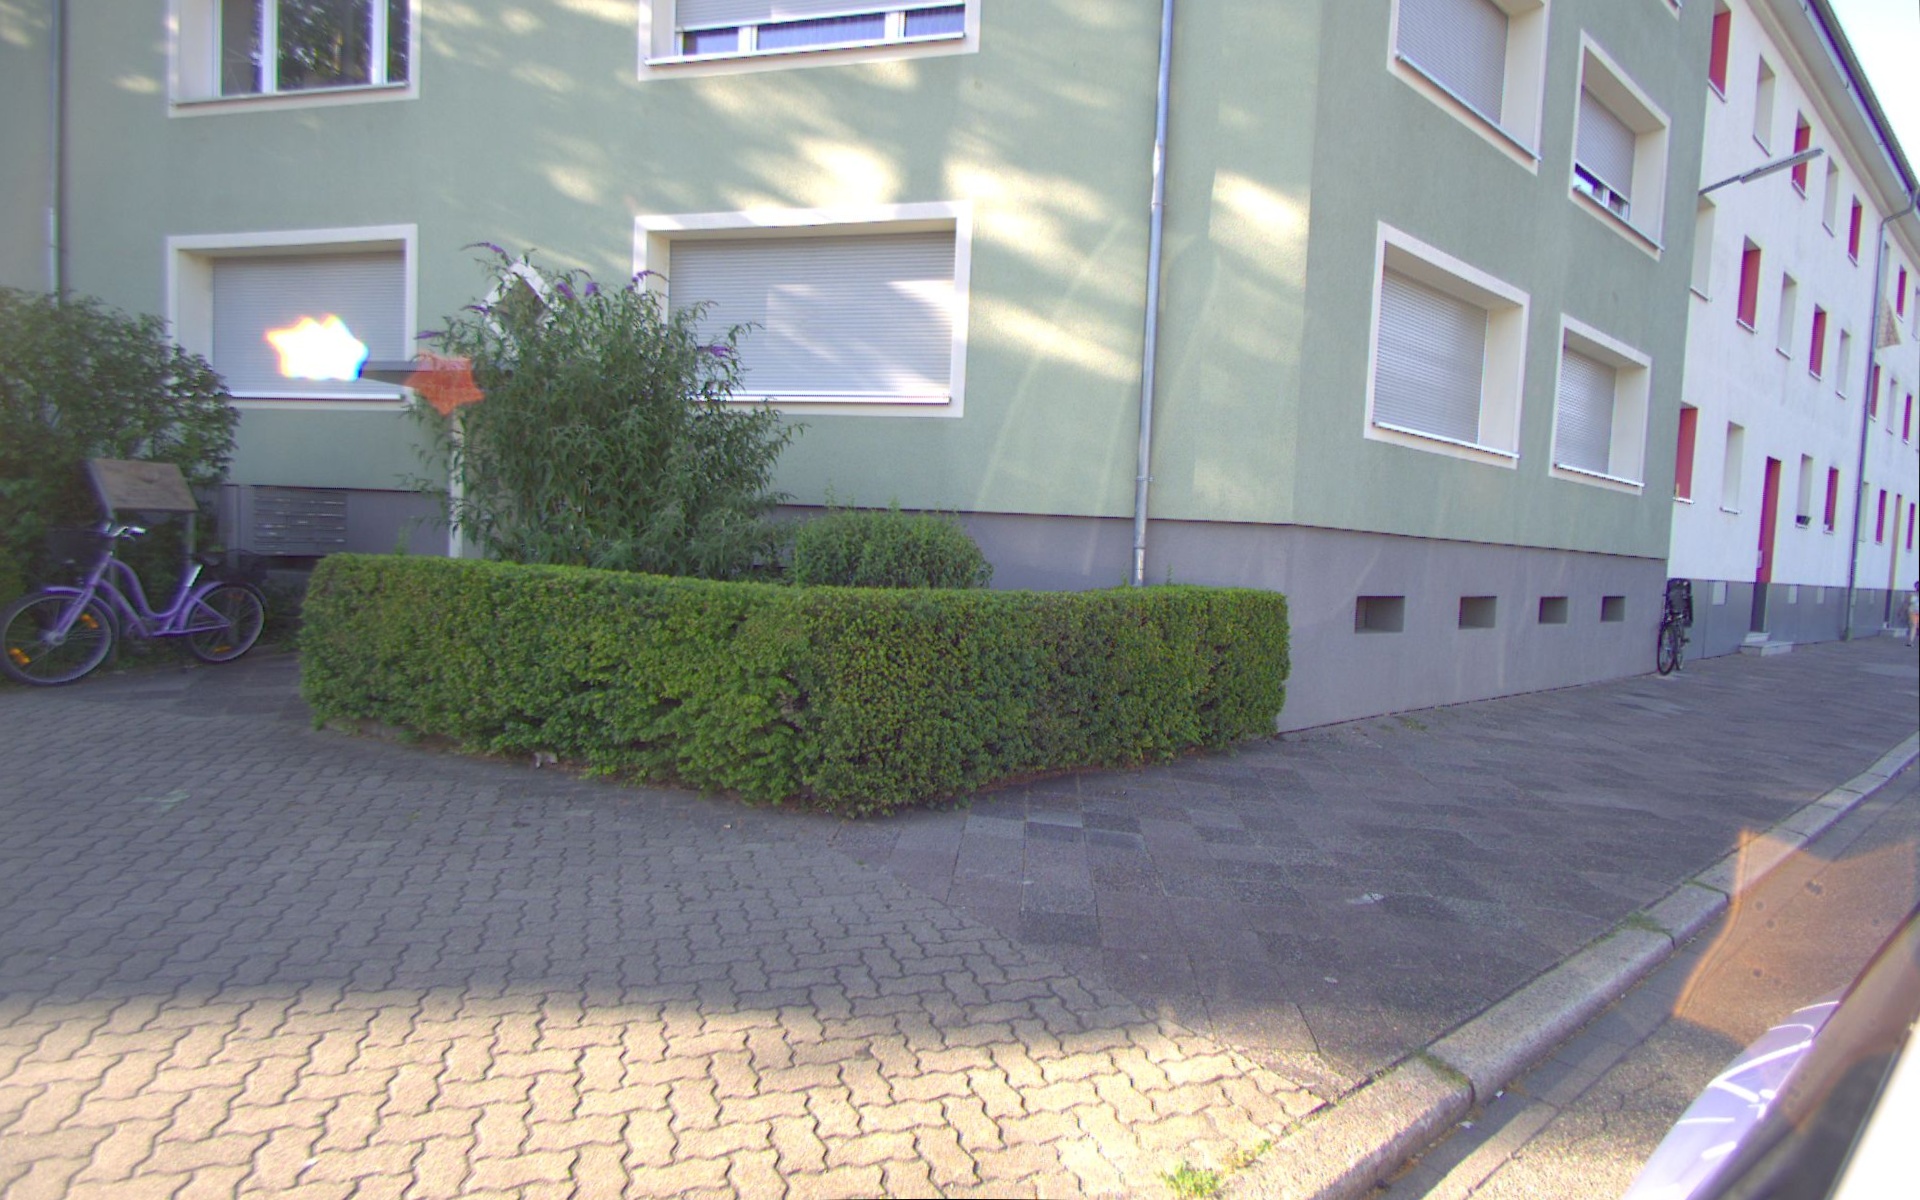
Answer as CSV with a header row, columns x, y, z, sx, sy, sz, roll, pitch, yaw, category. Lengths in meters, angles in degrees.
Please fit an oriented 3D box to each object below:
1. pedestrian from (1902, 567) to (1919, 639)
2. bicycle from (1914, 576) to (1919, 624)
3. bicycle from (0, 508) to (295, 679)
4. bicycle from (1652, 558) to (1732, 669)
x,y,z,sx,sy,sz,roll,pitch,yaw,category
23.706,0.084,24.719,0.933,1.727,0.787,0,4,-41,pedestrian
29.434,0.012,30.741,1.843,1.429,0.517,-1,4,-44,bicycle
-5.908,-0.085,7.291,0.515,1.069,1.920,3,3,22,bicycle
10.135,0.160,13.992,1.843,1.429,0.517,-1,4,-44,bicycle
